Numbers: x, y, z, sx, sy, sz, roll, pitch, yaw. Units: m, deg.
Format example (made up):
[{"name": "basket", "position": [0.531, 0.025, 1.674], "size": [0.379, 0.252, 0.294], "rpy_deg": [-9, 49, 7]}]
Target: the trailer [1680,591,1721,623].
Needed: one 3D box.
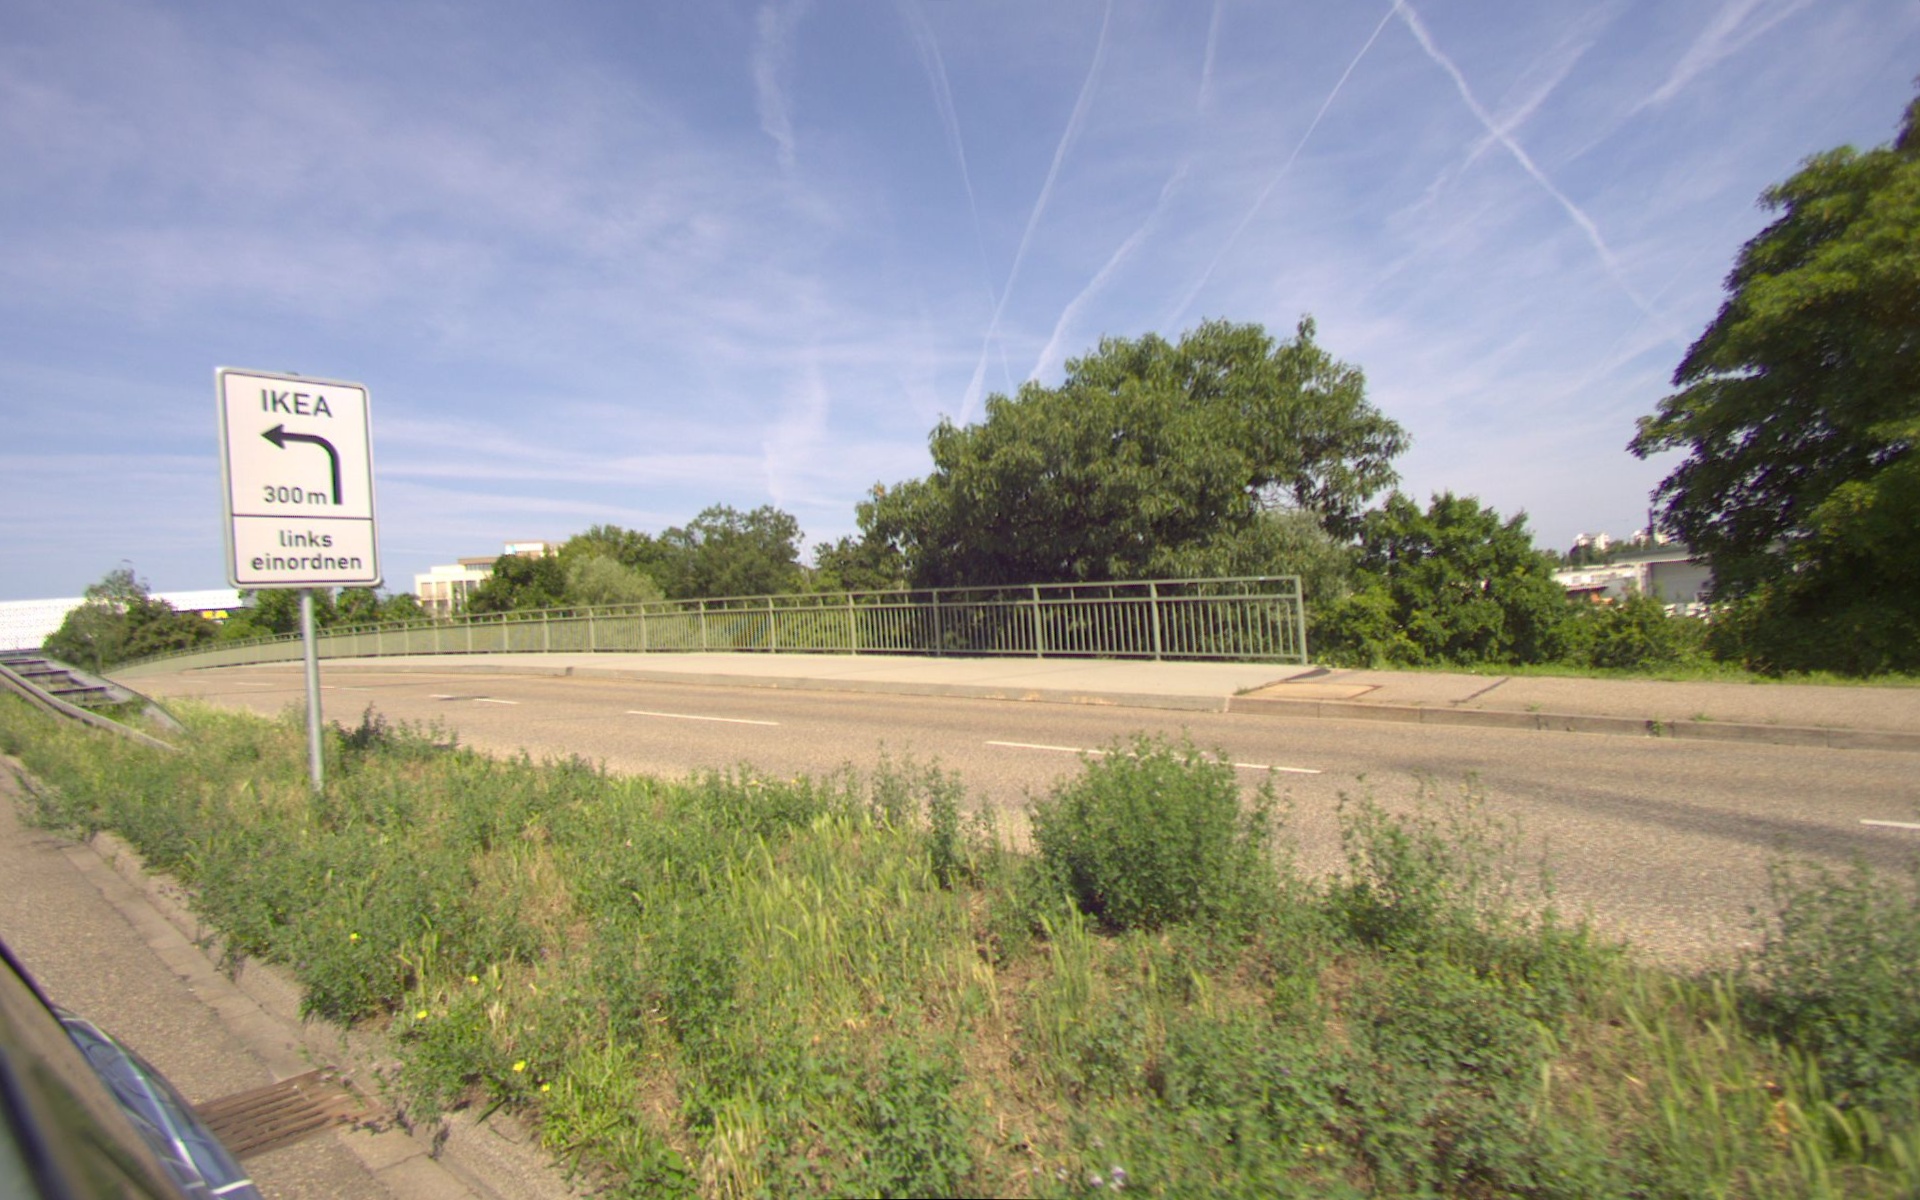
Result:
[{"name": "trailer", "position": [74.710, 0.716, 102.041], "size": [2.616, 2.831, 6.685], "rpy_deg": [-5, -2, 41]}]

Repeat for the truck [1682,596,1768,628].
[{"name": "truck", "position": [68.265, 1.045, 90.403], "size": [5.543, 2.418, 2.292], "rpy_deg": [-4, -1, 9]}]
